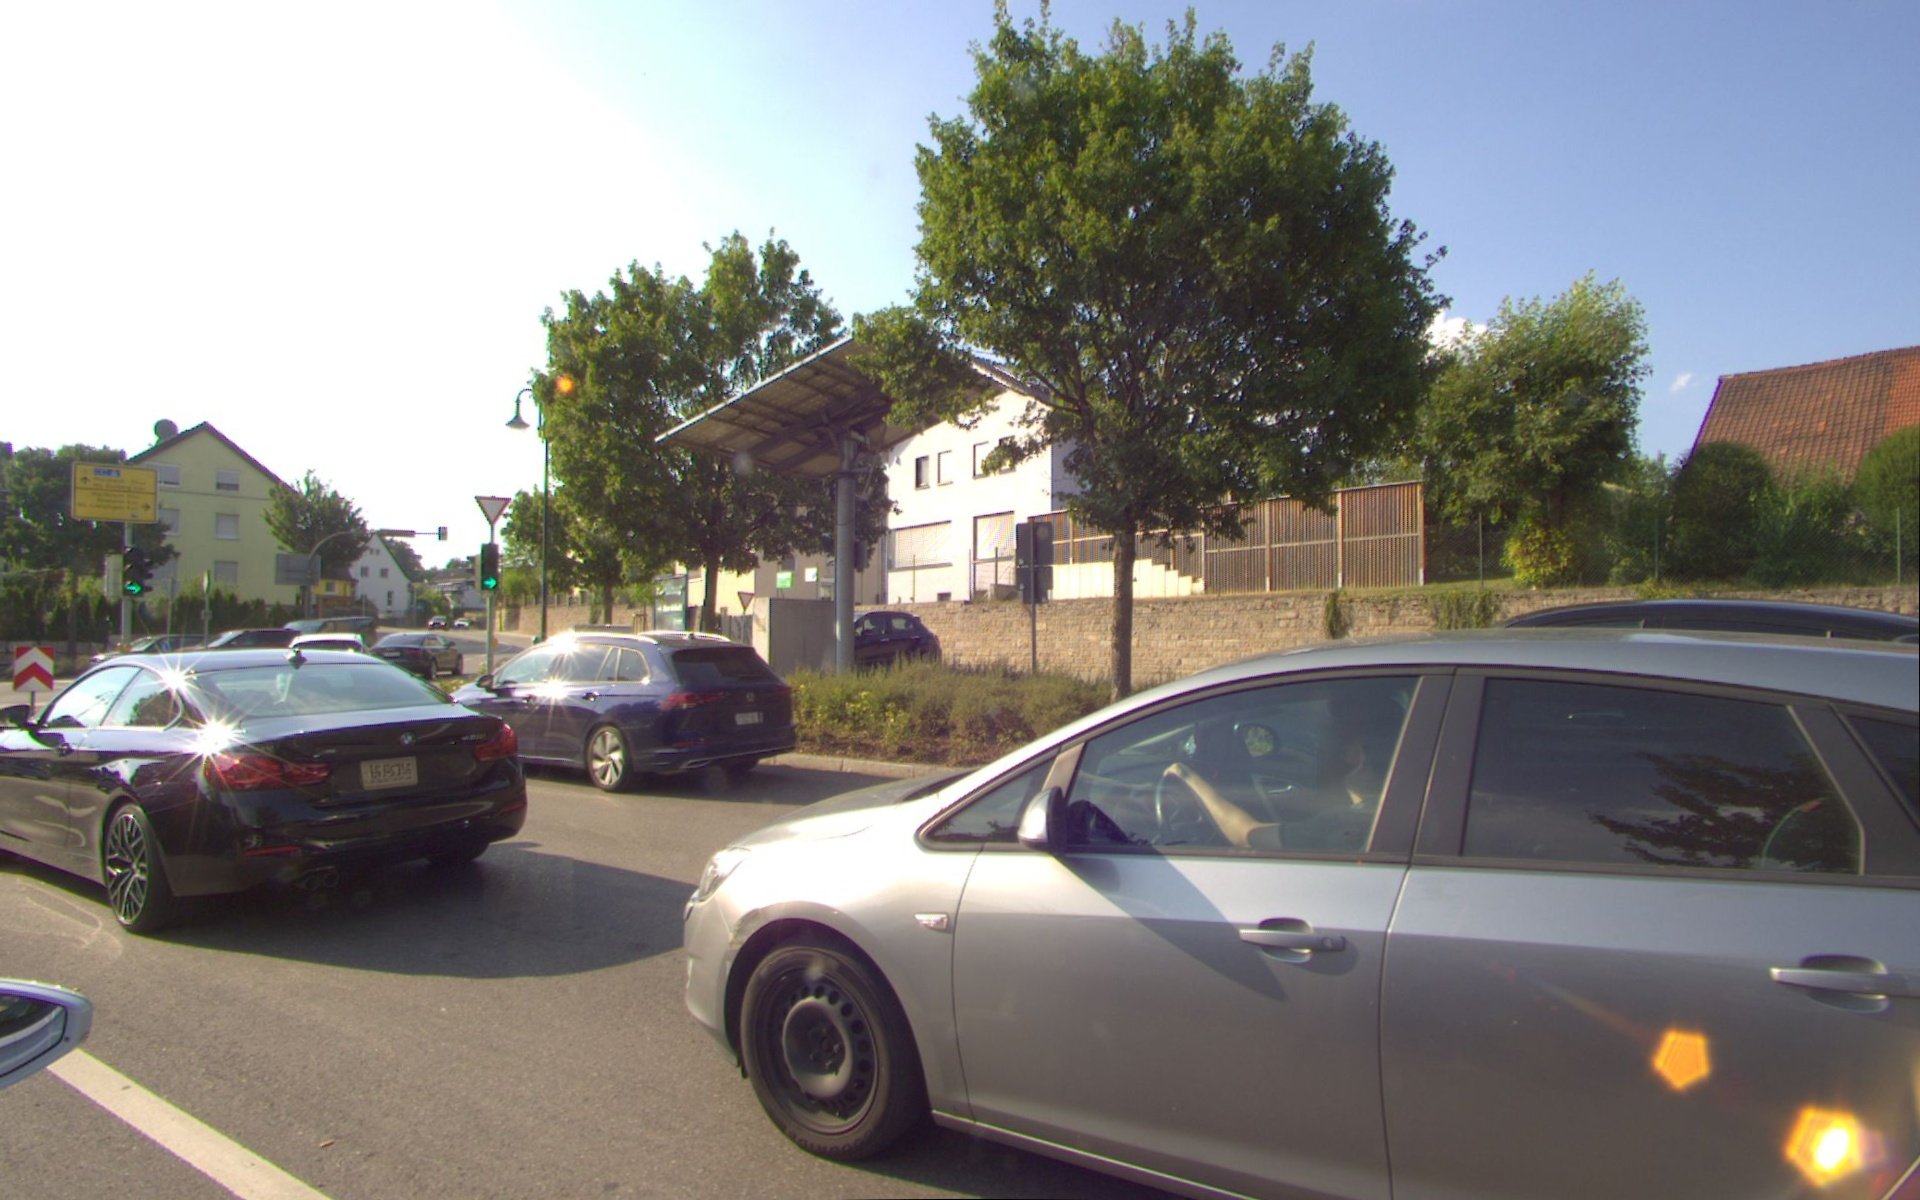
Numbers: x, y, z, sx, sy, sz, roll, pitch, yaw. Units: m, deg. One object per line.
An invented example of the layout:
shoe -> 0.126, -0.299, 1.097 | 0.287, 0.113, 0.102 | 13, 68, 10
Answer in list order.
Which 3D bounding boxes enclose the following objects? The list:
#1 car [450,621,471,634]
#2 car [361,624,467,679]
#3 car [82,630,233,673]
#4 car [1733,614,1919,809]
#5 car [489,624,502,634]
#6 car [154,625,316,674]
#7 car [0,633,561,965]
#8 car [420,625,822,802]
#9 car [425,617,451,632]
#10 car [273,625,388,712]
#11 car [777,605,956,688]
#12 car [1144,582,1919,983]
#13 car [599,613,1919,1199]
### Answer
car -> -71.064, 3.879, 142.485 | 1.937, 1.701, 4.207 | -1, -1, -18
car -> -17.163, 1.567, 31.698 | 1.630, 1.562, 4.395 | -1, -1, -11
car -> -29.668, 1.878, 37.140 | 1.821, 1.508, 3.983 | -1, -2, 30
car -> 8.615, 0.929, 9.503 | 1.758, 1.510, 4.120 | -1, -2, 41
car -> -81.119, 5.069, 174.932 | 1.939, 1.701, 4.202 | 0, -1, -23
car -> -26.084, 1.743, 36.185 | 1.818, 1.662, 4.418 | -1, -2, 25
car -> -4.594, 0.939, 6.310 | 4.221, 1.416, 1.758 | -1, 0, 33
car -> -3.626, 1.019, 10.429 | 4.259, 1.472, 1.757 | -1, 0, 34
car -> -61.341, 2.863, 117.691 | 1.937, 1.701, 4.207 | -1, -1, -18
car -> -12.641, 1.304, 20.285 | 1.598, 1.562, 3.304 | -1, 0, -26
car -> -1.982, 0.998, 22.061 | 1.758, 1.653, 3.800 | -1, -2, 40
car -> 3.443, 0.763, 5.406 | 4.501, 1.630, 1.758 | -1, 0, 33
car -> 1.132, 0.796, 2.802 | 4.256, 1.472, 1.758 | -1, 0, 31
